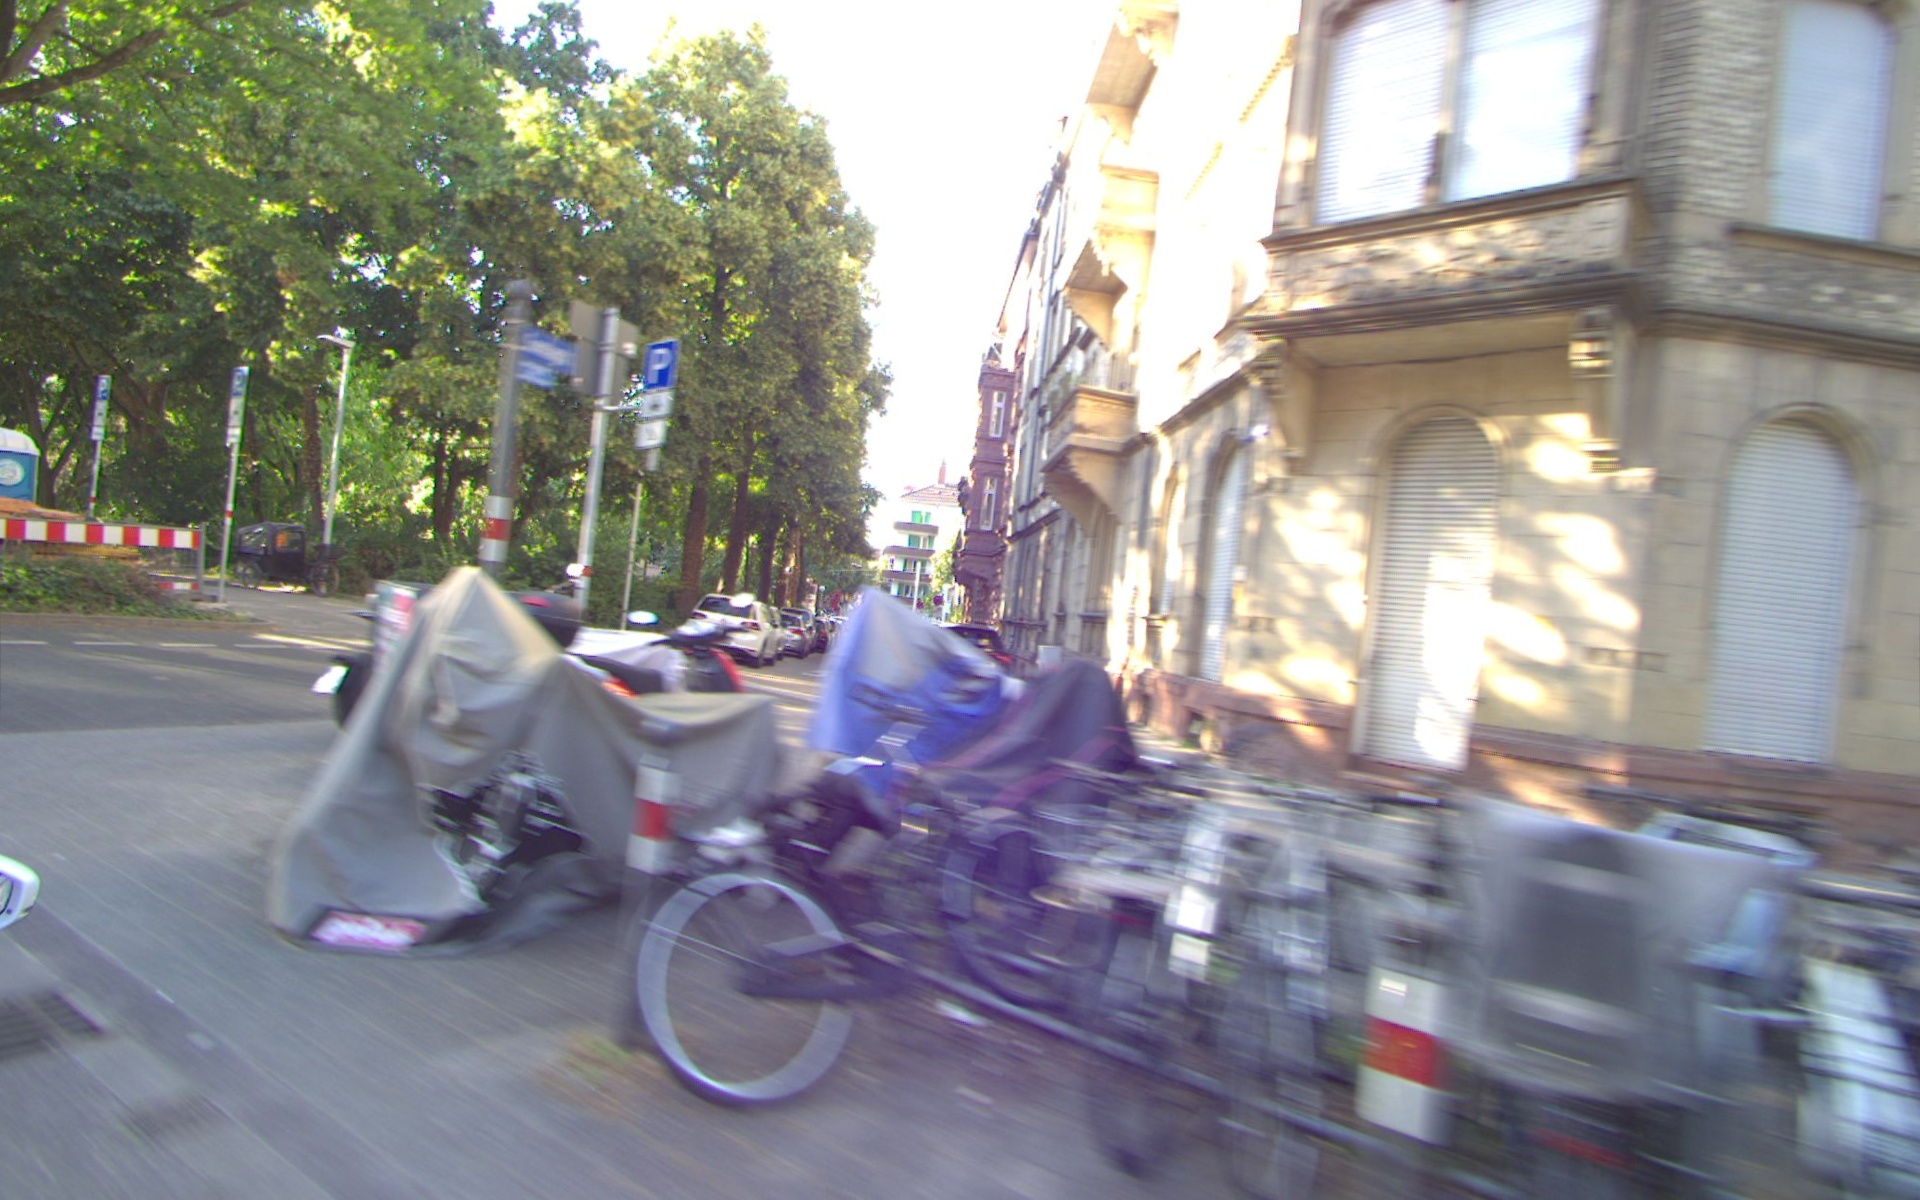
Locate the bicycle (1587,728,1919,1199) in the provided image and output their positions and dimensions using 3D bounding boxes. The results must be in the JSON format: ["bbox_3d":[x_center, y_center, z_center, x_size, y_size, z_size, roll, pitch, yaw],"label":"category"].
[{"bbox_3d":[2.907,1.201,3.892,0.471,1.261,1.929,7,-1,26],"label":"bicycle"}]

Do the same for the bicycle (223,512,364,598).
[{"bbox_3d":[-12.296,-0.821,18.583,2.107,1.302,1.026,7,1,19],"label":"bicycle"}]

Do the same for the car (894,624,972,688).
[{"bbox_3d":[-0.703,1.400,25.291,1.739,1.393,4.003,3,-3,-2],"label":"car"}]

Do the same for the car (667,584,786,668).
[{"bbox_3d":[-5.183,0.655,22.836,1.849,1.427,4.003,10,-4,-4],"label":"car"}]

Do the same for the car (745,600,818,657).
[{"bbox_3d":[-5.901,1.009,33.687,1.849,1.478,4.003,10,-4,-4],"label":"car"}]

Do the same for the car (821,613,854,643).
[{"bbox_3d":[-8.290,1.941,68.269,1.849,1.602,4.003,10,-4,-4],"label":"car"}]

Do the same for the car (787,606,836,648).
[{"bbox_3d":[-7.164,1.364,48.805,1.849,1.602,4.003,10,-4,-4],"label":"car"}]

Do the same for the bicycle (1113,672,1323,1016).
[{"bbox_3d":[1.316,1.009,4.821,0.471,1.261,1.929,7,-1,26],"label":"bicycle"}]

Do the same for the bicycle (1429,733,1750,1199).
[{"bbox_3d":[1.366,1.017,2.419,0.297,1.261,1.929,7,-1,26],"label":"bicycle"}]

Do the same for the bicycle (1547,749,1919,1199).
[{"bbox_3d":[1.668,1.047,2.271,0.297,1.261,1.929,7,-1,26],"label":"bicycle"}]

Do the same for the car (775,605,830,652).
[{"bbox_3d":[-6.846,1.297,44.030,1.849,1.602,4.003,10,-4,-4],"label":"car"}]

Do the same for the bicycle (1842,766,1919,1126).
[{"bbox_3d":[3.705,1.301,3.395,0.471,1.261,1.929,7,-1,26],"label":"bicycle"}]

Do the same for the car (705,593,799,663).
[{"bbox_3d":[-5.604,0.835,27.559,1.849,1.478,4.003,10,-4,-4],"label":"car"}]

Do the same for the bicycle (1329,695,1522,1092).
[{"bbox_3d":[2.030,1.088,4.382,0.471,1.261,1.929,7,-1,26],"label":"bicycle"}]

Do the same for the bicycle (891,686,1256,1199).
[{"bbox_3d":[0.456,0.897,2.861,0.297,1.261,1.929,7,-1,26],"label":"bicycle"}]

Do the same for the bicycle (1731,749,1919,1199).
[{"bbox_3d":[3.362,1.258,3.639,0.388,1.261,1.929,7,-1,26],"label":"bicycle"}]

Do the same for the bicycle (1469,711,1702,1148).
[{"bbox_3d":[2.458,1.144,4.136,0.471,1.261,1.929,7,-1,26],"label":"bicycle"}]

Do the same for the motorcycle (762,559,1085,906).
[{"bbox_3d":[-0.073,0.686,5.838,0.742,1.550,2.289,7,-1,26],"label":"motorcycle"}]

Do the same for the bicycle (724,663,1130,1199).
[{"bbox_3d":[0.055,0.861,3.214,0.297,1.261,1.929,7,0,26],"label":"bicycle"}]

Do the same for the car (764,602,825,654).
[{"bbox_3d":[-6.493,1.149,39.826,1.849,1.602,4.003,10,-4,-4],"label":"car"}]

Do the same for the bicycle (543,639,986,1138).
[{"bbox_3d":[-0.510,0.816,3.528,0.297,1.261,1.929,7,-1,26],"label":"bicycle"}]

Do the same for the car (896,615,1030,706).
[{"bbox_3d":[-0.074,1.093,18.645,1.964,1.393,4.366,3,-3,-6],"label":"car"}]

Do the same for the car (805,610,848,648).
[{"bbox_3d":[-7.191,1.605,54.486,1.849,1.602,4.003,10,-4,-4],"label":"car"}]

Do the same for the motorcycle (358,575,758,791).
[{"bbox_3d":[-2.674,0.581,6.929,0.958,1.194,2.278,6,-1,44],"label":"motorcycle"}]

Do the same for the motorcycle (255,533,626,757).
[{"bbox_3d":[-3.788,0.351,7.663,0.923,1.357,2.372,7,-1,22],"label":"motorcycle"}]

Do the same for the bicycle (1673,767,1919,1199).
[{"bbox_3d":[1.975,1.082,2.139,0.297,1.261,1.929,7,-1,26],"label":"bicycle"}]

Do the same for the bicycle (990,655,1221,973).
[{"bbox_3d":[0.827,0.958,5.124,0.471,1.261,1.929,7,-1,26],"label":"bicycle"}]

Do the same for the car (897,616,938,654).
[{"bbox_3d":[-2.163,1.702,50.269,1.775,1.587,3.999,7,-1,-3],"label":"car"}]

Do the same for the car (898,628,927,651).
[{"bbox_3d":[-3.108,2.588,65.607,1.739,1.393,4.003,3,-3,-2],"label":"car"}]

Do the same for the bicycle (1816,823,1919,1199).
[{"bbox_3d":[2.237,1.212,1.956,0.297,1.261,1.929,7,-1,26],"label":"bicycle"}]

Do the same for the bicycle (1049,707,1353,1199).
[{"bbox_3d":[0.745,0.959,2.699,0.297,1.261,1.929,7,-1,26],"label":"bicycle"}]

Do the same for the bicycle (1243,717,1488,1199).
[{"bbox_3d":[1.061,0.979,2.570,0.297,1.261,1.911,7,-1,26],"label":"bicycle"}]

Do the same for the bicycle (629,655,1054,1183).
[{"bbox_3d":[-0.230,0.851,3.386,0.297,1.261,1.929,7,-1,26],"label":"bicycle"}]

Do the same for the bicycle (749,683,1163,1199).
[{"bbox_3d":[0.145,0.898,3.002,0.297,1.261,1.929,7,-1,26],"label":"bicycle"}]

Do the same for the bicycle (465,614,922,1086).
[{"bbox_3d":[-0.790,0.751,3.669,0.297,1.261,1.929,7,-1,26],"label":"bicycle"}]

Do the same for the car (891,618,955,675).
[{"bbox_3d":[-1.147,1.433,30.676,1.739,1.537,4.003,3,-3,-2],"label":"car"}]

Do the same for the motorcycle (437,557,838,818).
[{"bbox_3d":[-1.925,0.564,6.377,0.647,1.358,2.278,7,-1,43],"label":"motorcycle"}]

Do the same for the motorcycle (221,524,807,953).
[{"bbox_3d":[-1.784,0.552,4.230,1.918,1.429,0.933,7,0,-31],"label":"motorcycle"}]

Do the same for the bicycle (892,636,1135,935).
[{"bbox_3d":[0.376,0.882,5.359,0.444,1.261,1.929,7,-1,26],"label":"bicycle"}]
